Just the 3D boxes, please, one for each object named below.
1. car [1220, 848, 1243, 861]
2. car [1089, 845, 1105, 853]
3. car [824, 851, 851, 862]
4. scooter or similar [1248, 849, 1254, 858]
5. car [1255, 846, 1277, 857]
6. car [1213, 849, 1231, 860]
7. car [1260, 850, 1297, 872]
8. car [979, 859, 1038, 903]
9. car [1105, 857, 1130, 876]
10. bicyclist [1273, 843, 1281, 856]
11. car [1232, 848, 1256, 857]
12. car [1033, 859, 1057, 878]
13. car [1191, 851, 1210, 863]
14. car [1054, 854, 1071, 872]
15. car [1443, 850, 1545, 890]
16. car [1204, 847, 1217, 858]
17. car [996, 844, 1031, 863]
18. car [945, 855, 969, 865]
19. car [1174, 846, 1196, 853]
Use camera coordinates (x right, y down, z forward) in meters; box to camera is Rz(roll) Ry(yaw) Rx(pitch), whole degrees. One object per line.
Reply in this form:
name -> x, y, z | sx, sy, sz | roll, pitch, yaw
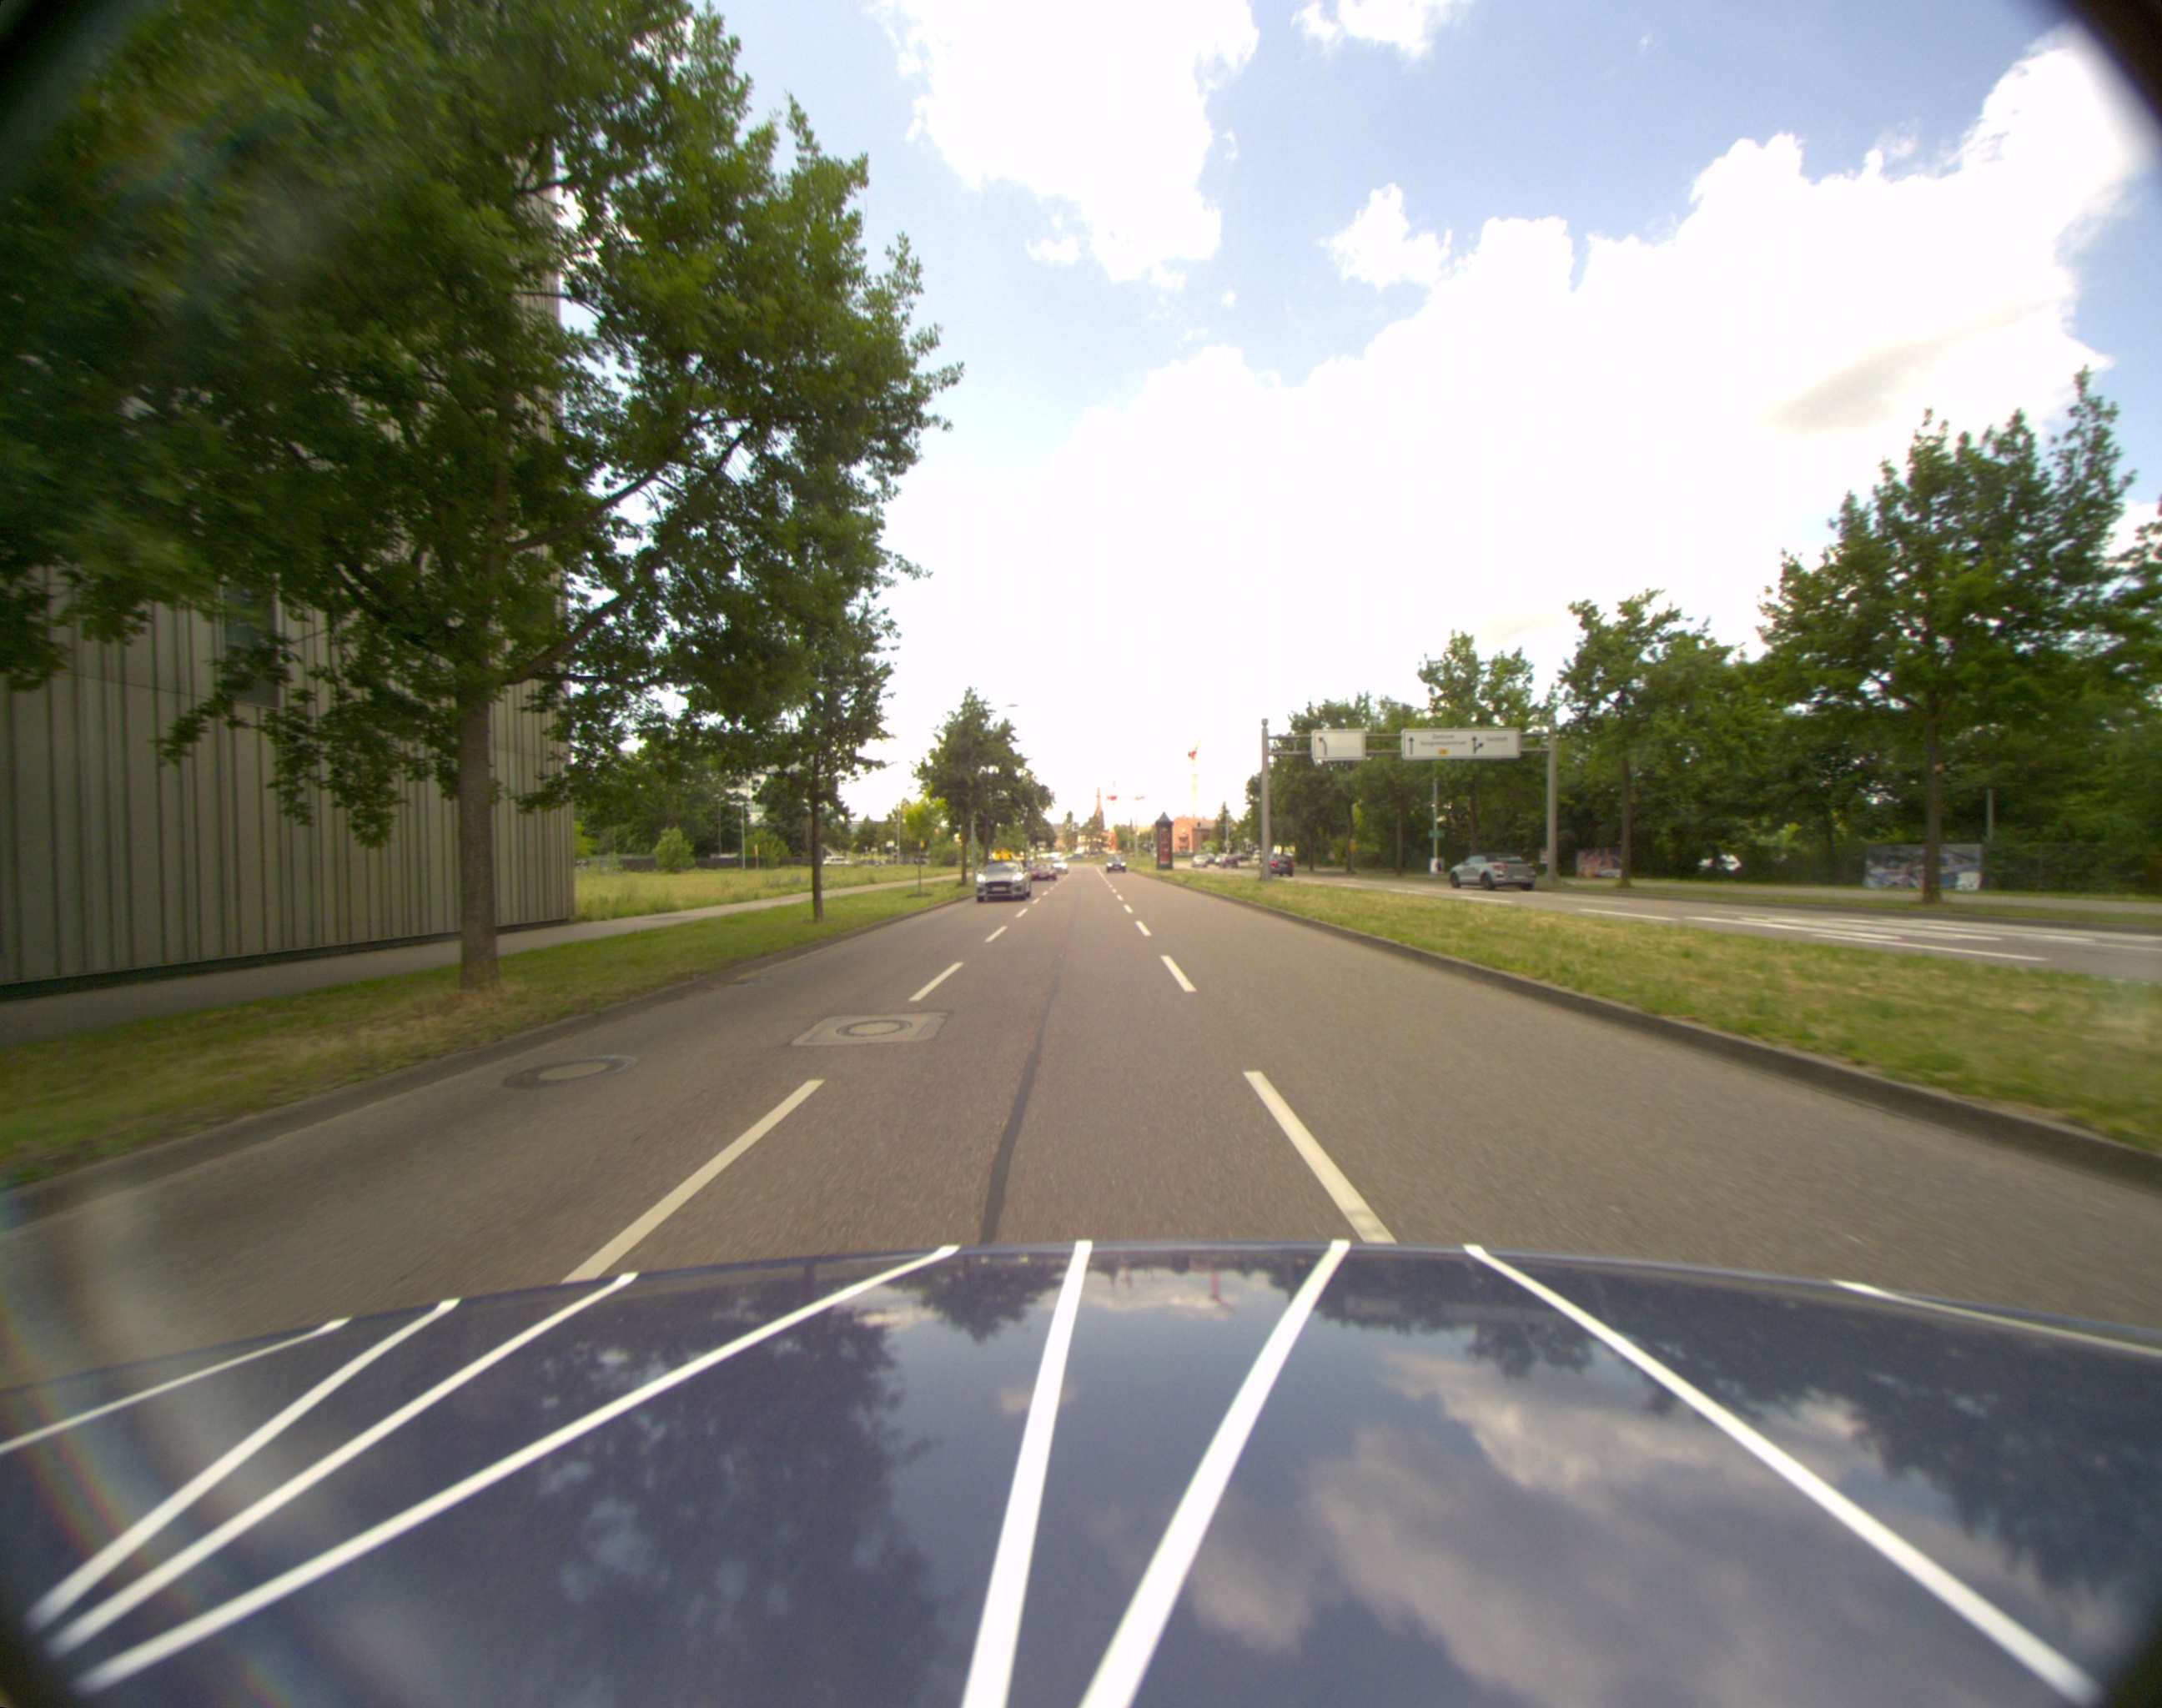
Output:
car -> 18.124, 0.045, 91.778 | 1.767, 1.568, 5.030 | 0, 0, 0
car -> 4.437, -1.287, 210.300 | 2.396, 2.185, 6.828 | -2, 0, -17
car -> -50.926, 0.538, 158.795 | 2.143, 2.135, 5.160 | -2, 1, 30
scooter or similar -> 22.510, -0.039, 100.353 | 0.541, 1.159, 1.441 | -2, 1, 5
car -> 32.079, -0.460, 131.643 | 1.838, 1.789, 4.798 | 1, 1, 38
car -> 19.468, 0.062, 104.763 | 1.912, 1.532, 4.374 | 0, 1, 19
car -> 14.460, 0.472, 55.843 | 1.745, 1.560, 4.276 | 0, 0, 2
car -> -2.717, 0.966, 29.256 | 1.673, 1.462, 4.093 | -2, 0, 2
car -> 3.510, 1.183, 73.705 | 1.775, 1.590, 4.124 | -3, 2, -4
bicyclist -> 24.994, -0.584, 96.929 | 0.832, 1.556, 0.883 | -3, 1, 0
car -> 26.404, -0.256, 123.202 | 1.838, 1.471, 4.763 | 1, 1, 39
car -> -2.689, 1.048, 56.234 | 1.674, 1.254, 4.090 | -1, 0, -4
car -> 14.641, 0.311, 93.386 | 1.767, 1.431, 4.309 | 0, 0, 1
car -> -1.919, 0.927, 78.502 | 1.674, 1.590, 4.126 | -3, 1, -1
car -> 16.961, 0.610, 31.492 | 1.746, 1.536, 4.573 | 0, 0, 0
car -> 19.278, -0.246, 112.970 | 1.725, 1.581, 5.017 | 0, 1, 13
car -> -10.432, -0.087, 116.985 | 2.289, 2.837, 7.237 | -1, 1, -33
car -> -22.267, 1.083, 136.143 | 2.004, 1.665, 5.055 | 0, 1, -39
car -> 22.888, -1.021, 167.237 | 4.579, 1.583, 1.917 | -1, 1, 31
